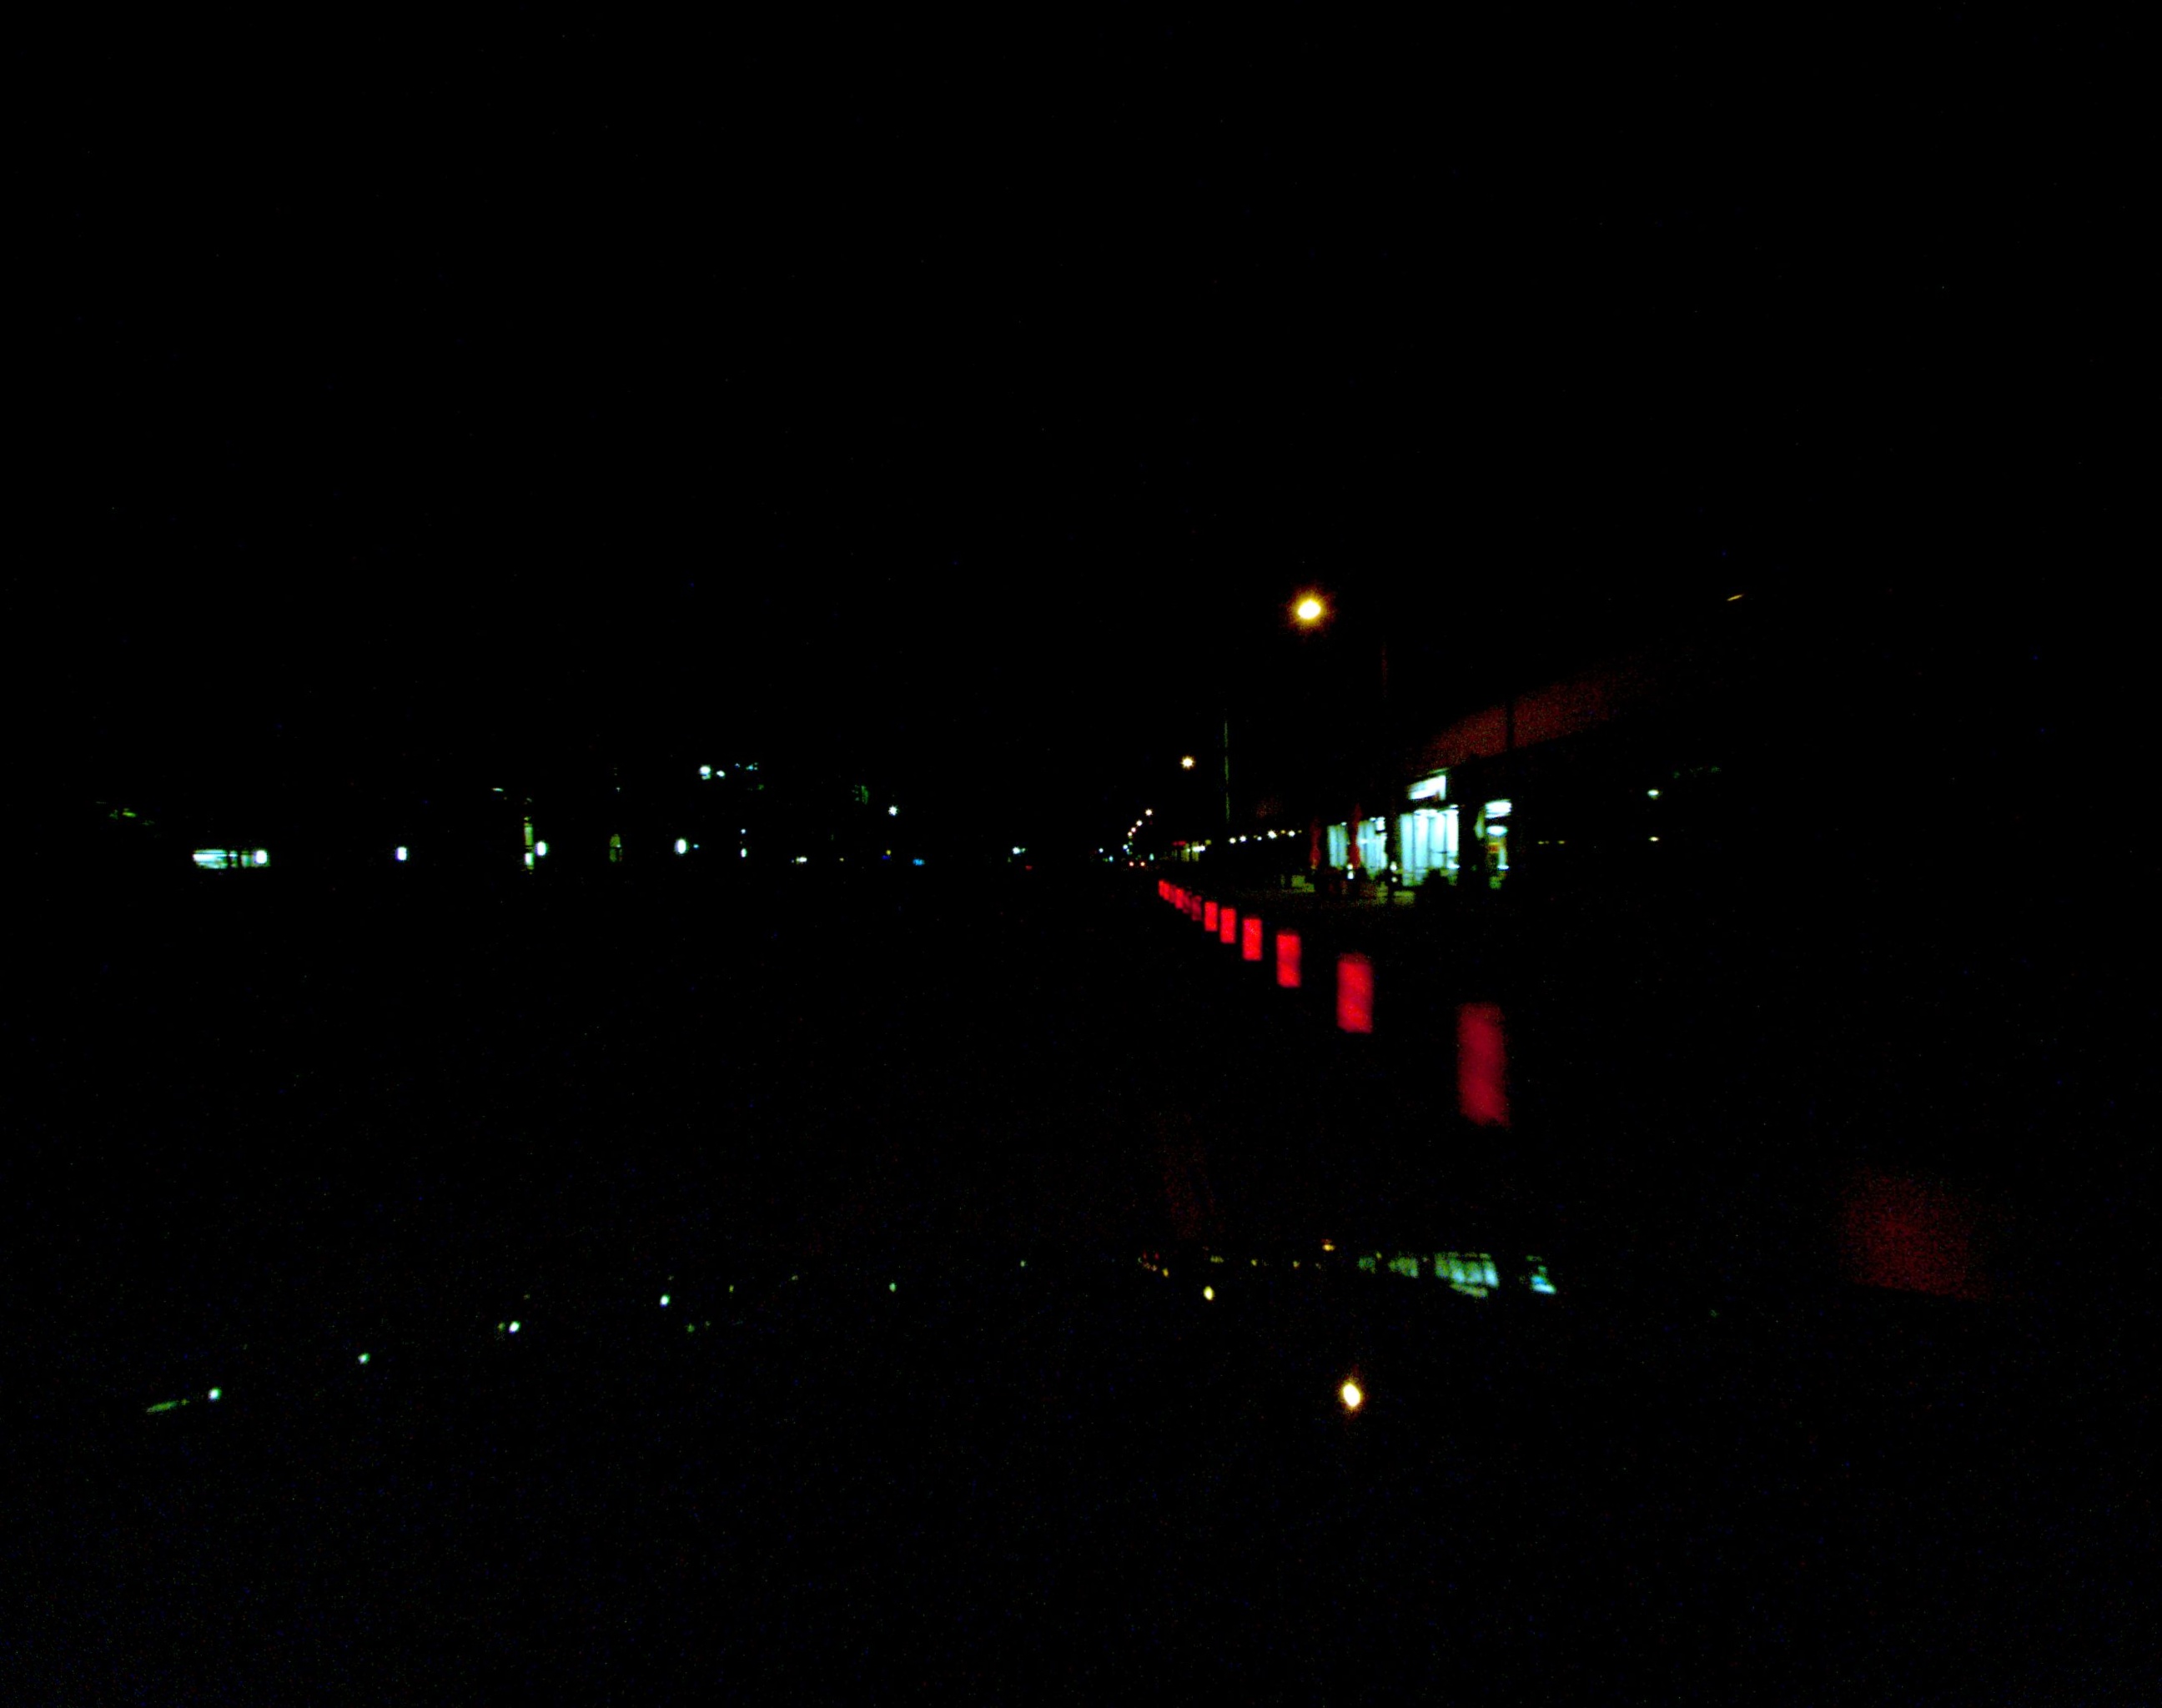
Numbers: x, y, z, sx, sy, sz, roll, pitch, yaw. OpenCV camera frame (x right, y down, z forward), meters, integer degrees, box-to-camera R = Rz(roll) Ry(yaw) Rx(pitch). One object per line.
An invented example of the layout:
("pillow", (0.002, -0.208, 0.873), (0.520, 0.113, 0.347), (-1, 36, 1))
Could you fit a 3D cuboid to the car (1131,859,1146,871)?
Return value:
("car", (6.877, 1.315, 91.303), (1.671, 1.420, 4.000), (1, 0, 1))
